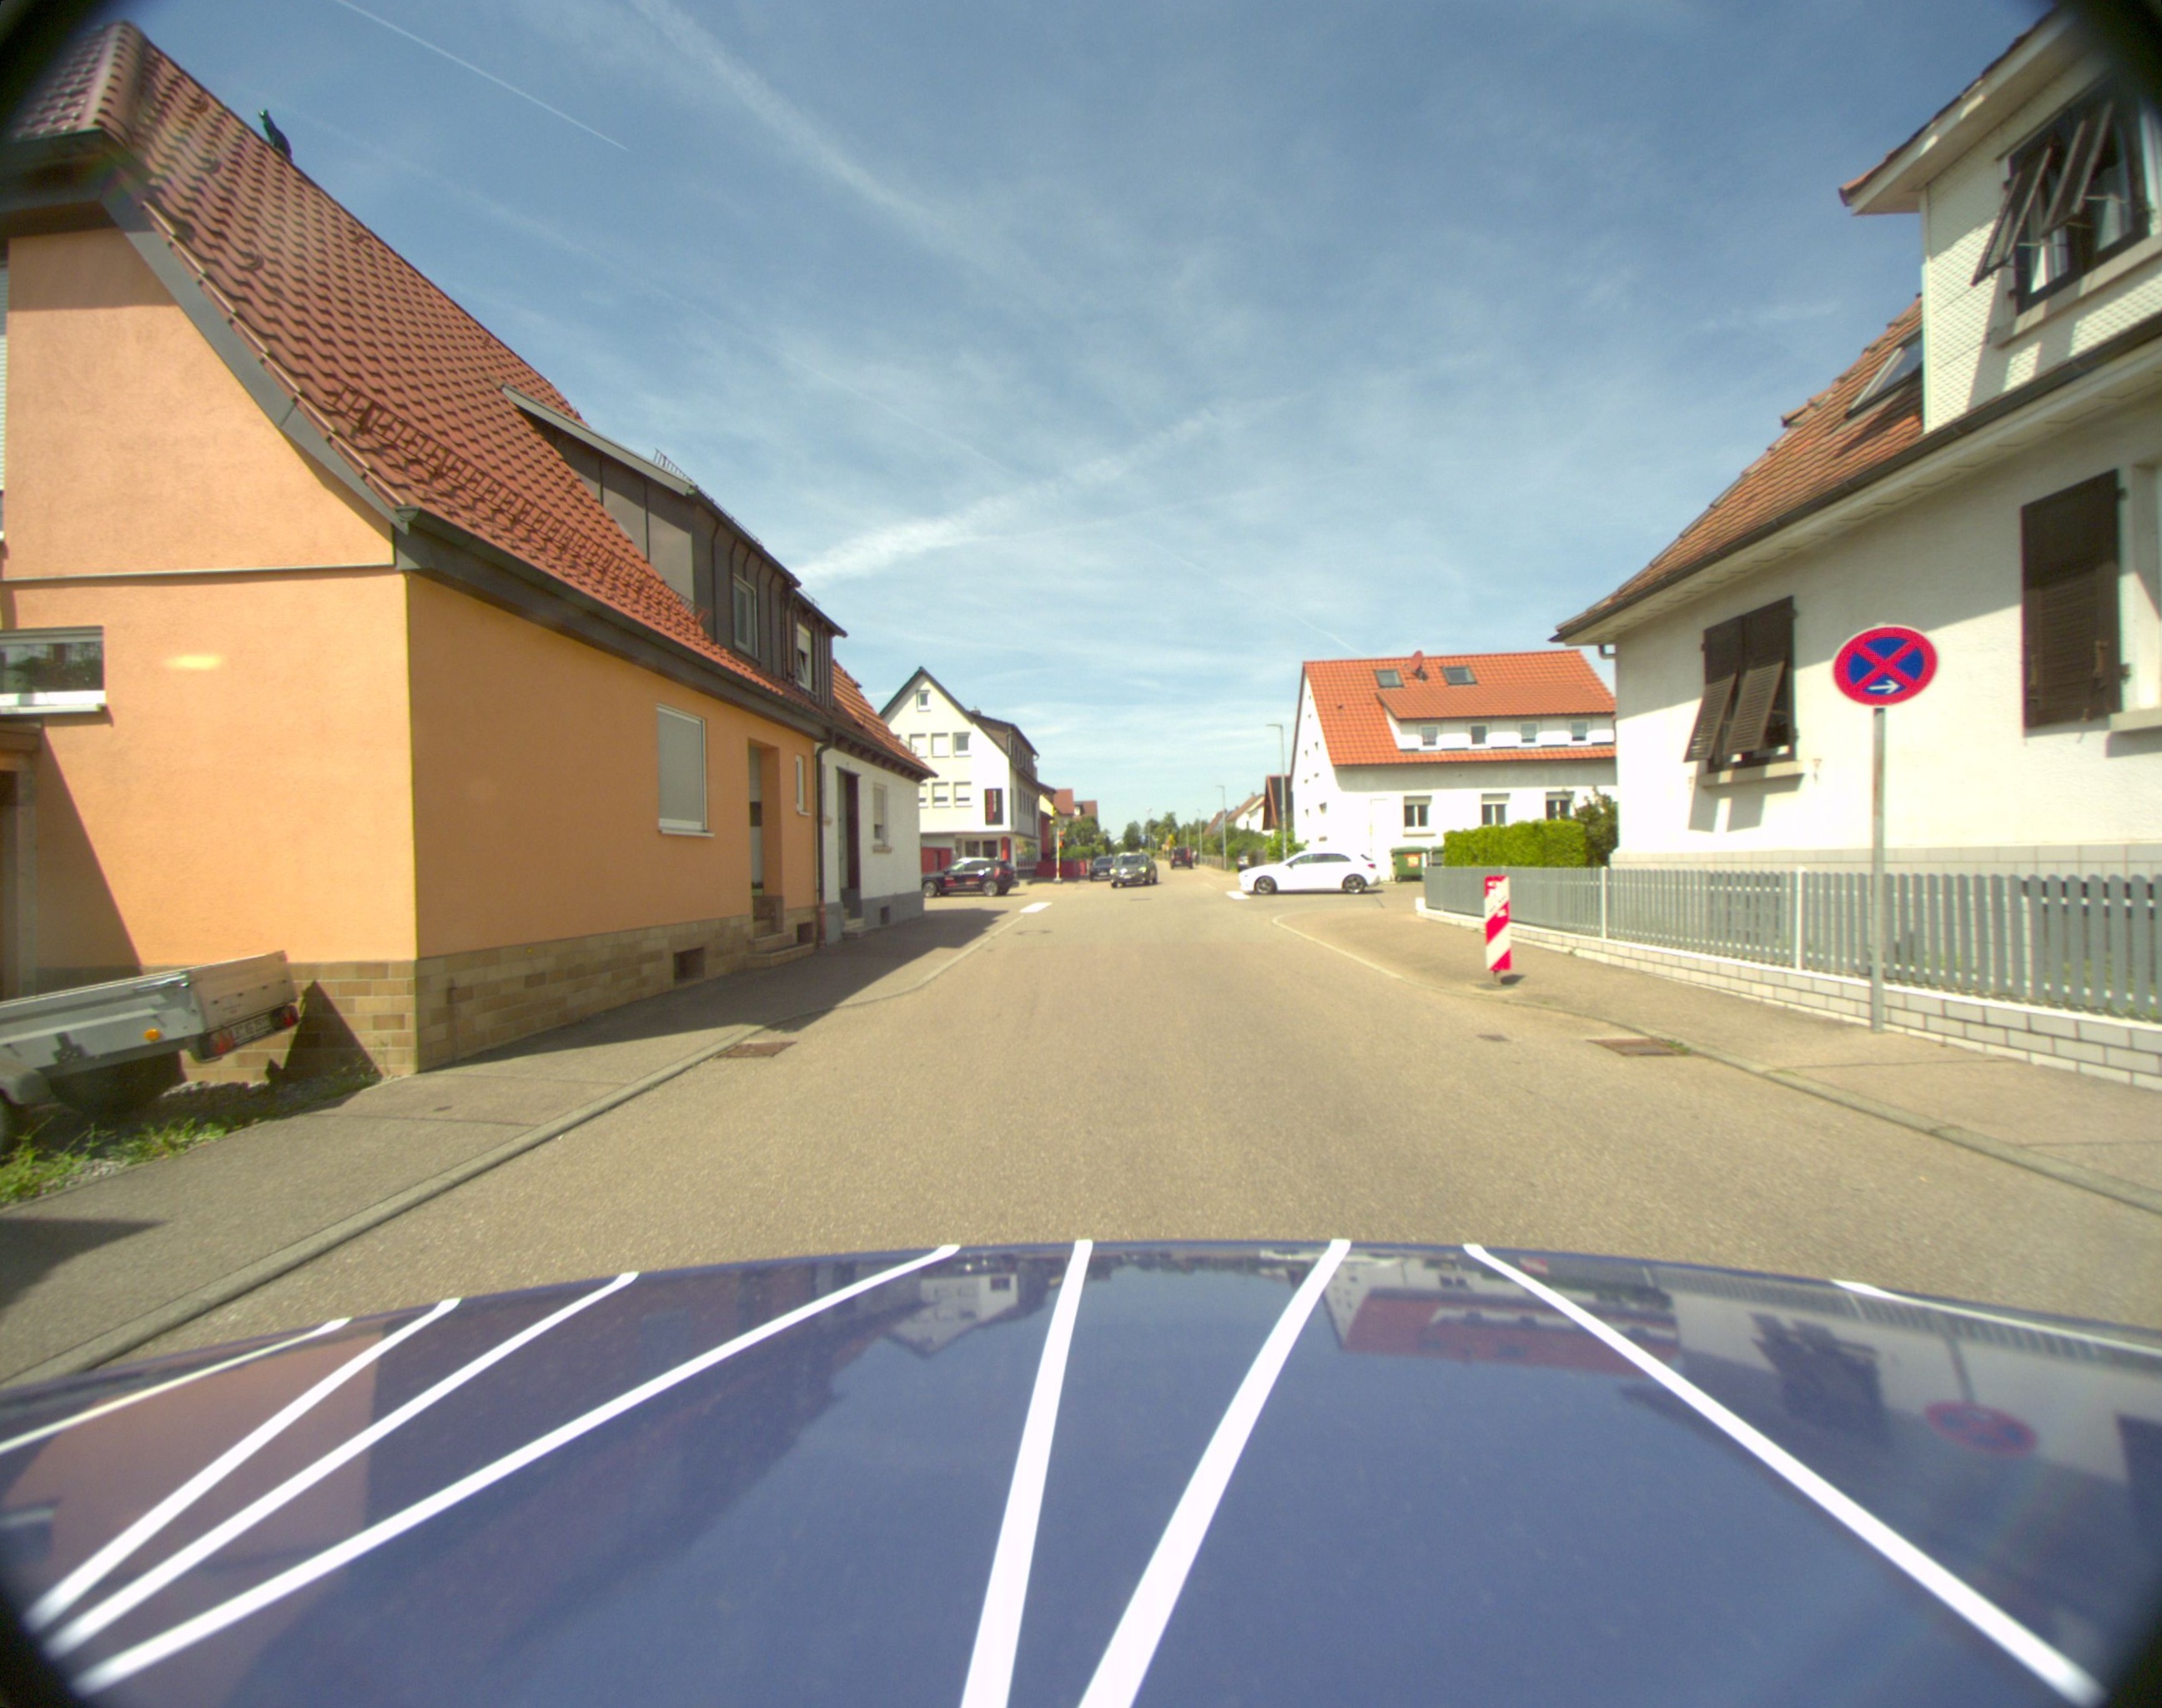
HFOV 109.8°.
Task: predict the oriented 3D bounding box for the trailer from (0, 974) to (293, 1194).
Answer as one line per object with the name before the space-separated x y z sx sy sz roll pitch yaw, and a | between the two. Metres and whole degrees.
trailer | -6.147 1.301 4.215 2.145 0.894 1.240 -2 0 -27

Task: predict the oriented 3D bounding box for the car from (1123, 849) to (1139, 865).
car | 6.088 0.340 91.653 1.669 1.739 4.057 -3 0 6

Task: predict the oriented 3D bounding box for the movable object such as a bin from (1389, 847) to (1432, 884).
movable object such as a bin | 12.103 0.414 27.972 1.264 1.306 1.167 -2 1 14

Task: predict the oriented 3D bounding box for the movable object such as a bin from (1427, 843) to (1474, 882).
movable object such as a bin | 13.442 0.311 27.723 1.264 1.328 1.314 -2 1 14

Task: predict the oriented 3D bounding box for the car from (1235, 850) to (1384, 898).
car | 7.490 0.650 24.919 4.484 1.390 1.932 -2 0 20

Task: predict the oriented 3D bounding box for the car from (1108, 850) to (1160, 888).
car | 2.663 0.685 37.309 1.836 1.638 4.327 -2 0 13

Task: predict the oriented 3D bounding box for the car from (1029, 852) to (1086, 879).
car | -1.887 0.948 62.674 4.377 1.659 1.877 -7 0 4

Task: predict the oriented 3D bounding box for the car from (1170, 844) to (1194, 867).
car | 9.334 0.124 70.510 1.972 1.940 4.698 -2 0 6

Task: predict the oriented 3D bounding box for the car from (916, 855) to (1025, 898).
car | -4.805 0.969 33.235 4.301 1.644 1.849 -2 0 11

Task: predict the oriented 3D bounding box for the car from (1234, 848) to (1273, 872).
car | 11.818 0.374 51.785 1.829 1.423 4.569 -2 0 22

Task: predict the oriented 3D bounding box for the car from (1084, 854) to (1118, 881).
car | 1.313 0.804 48.196 1.765 1.518 4.407 -3 0 6
